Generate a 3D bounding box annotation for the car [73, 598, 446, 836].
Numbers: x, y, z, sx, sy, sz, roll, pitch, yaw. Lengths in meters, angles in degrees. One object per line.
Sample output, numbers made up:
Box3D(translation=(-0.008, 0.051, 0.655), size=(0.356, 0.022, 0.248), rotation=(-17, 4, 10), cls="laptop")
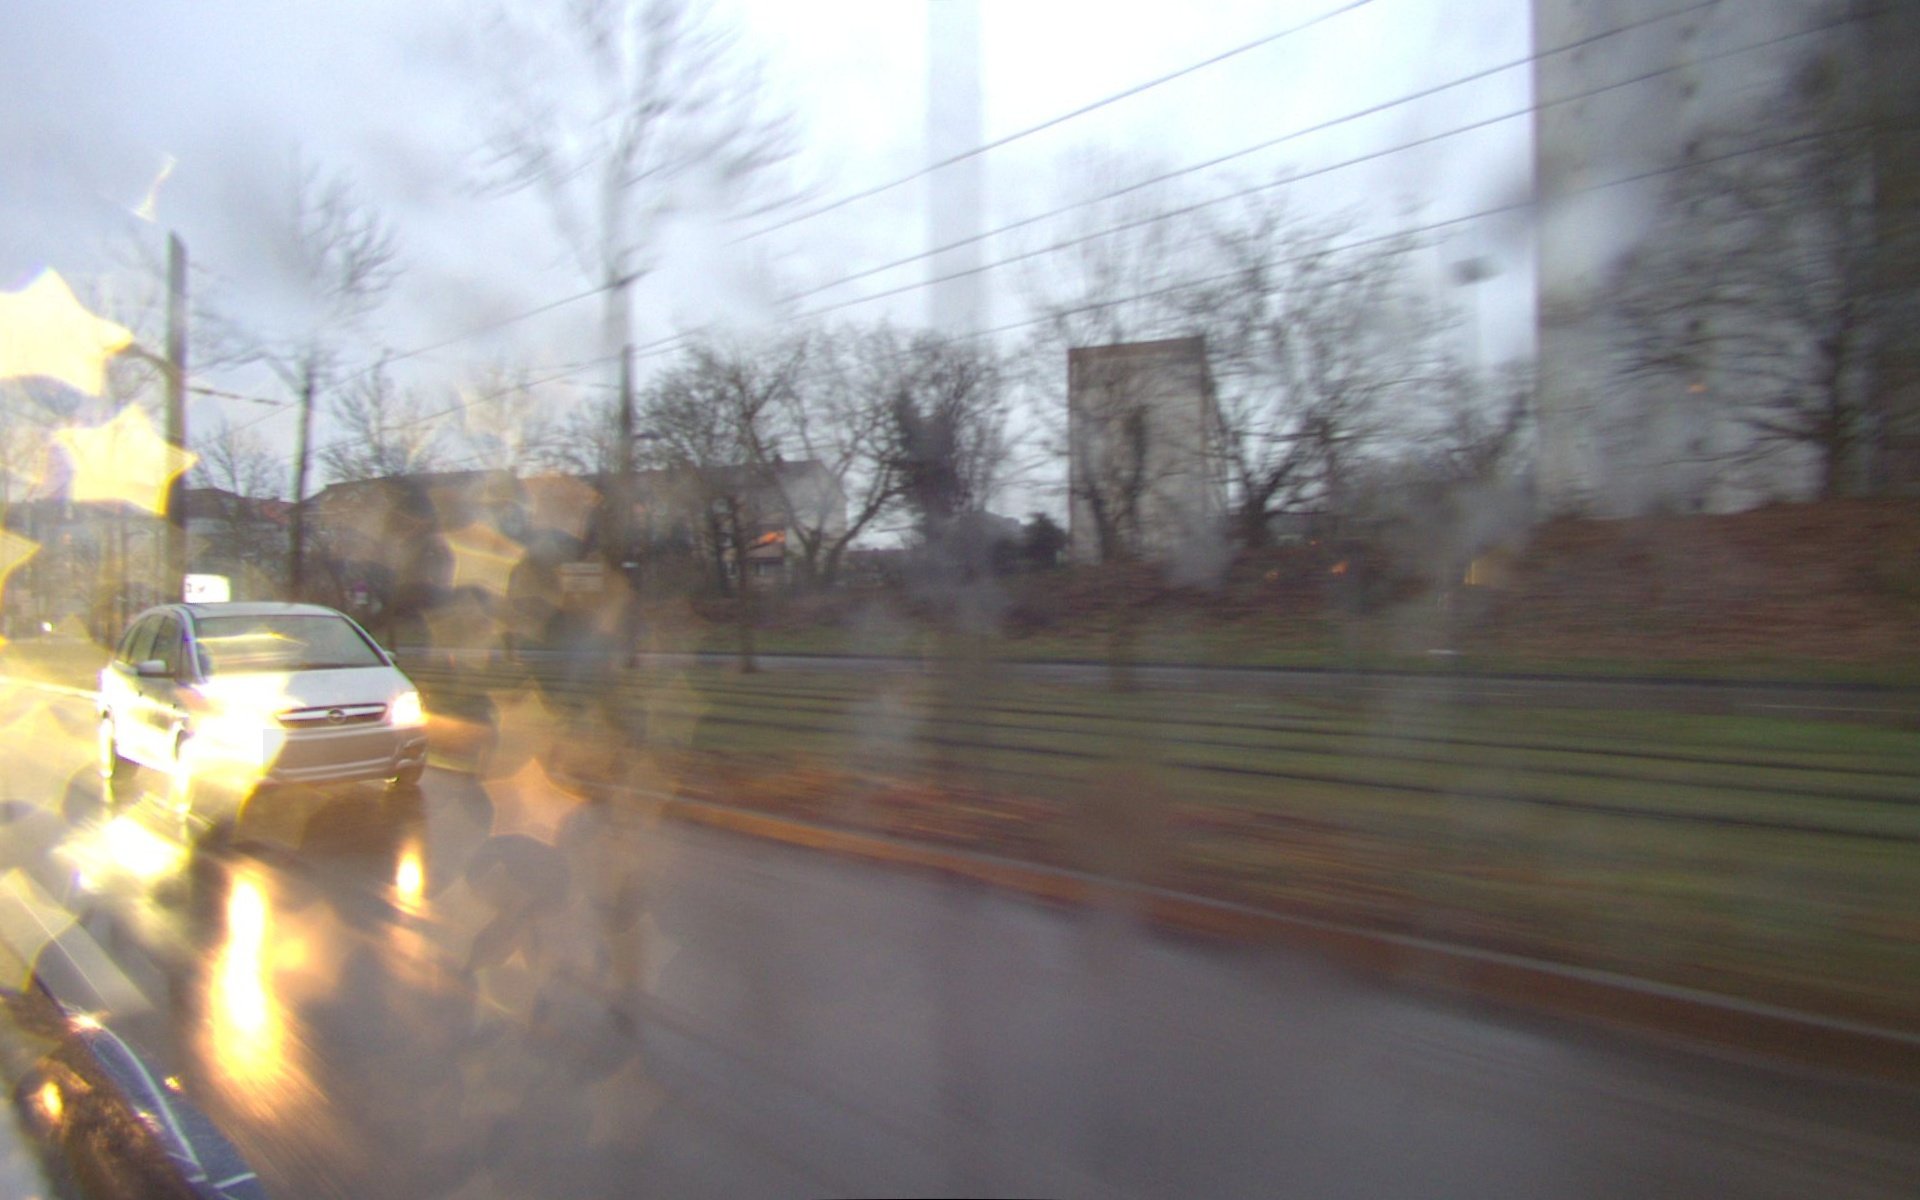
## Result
Box3D(translation=(-6.184, 0.837, 8.769), size=(3.919, 1.587, 1.649), rotation=(-2, 0, 40), cls="car")
